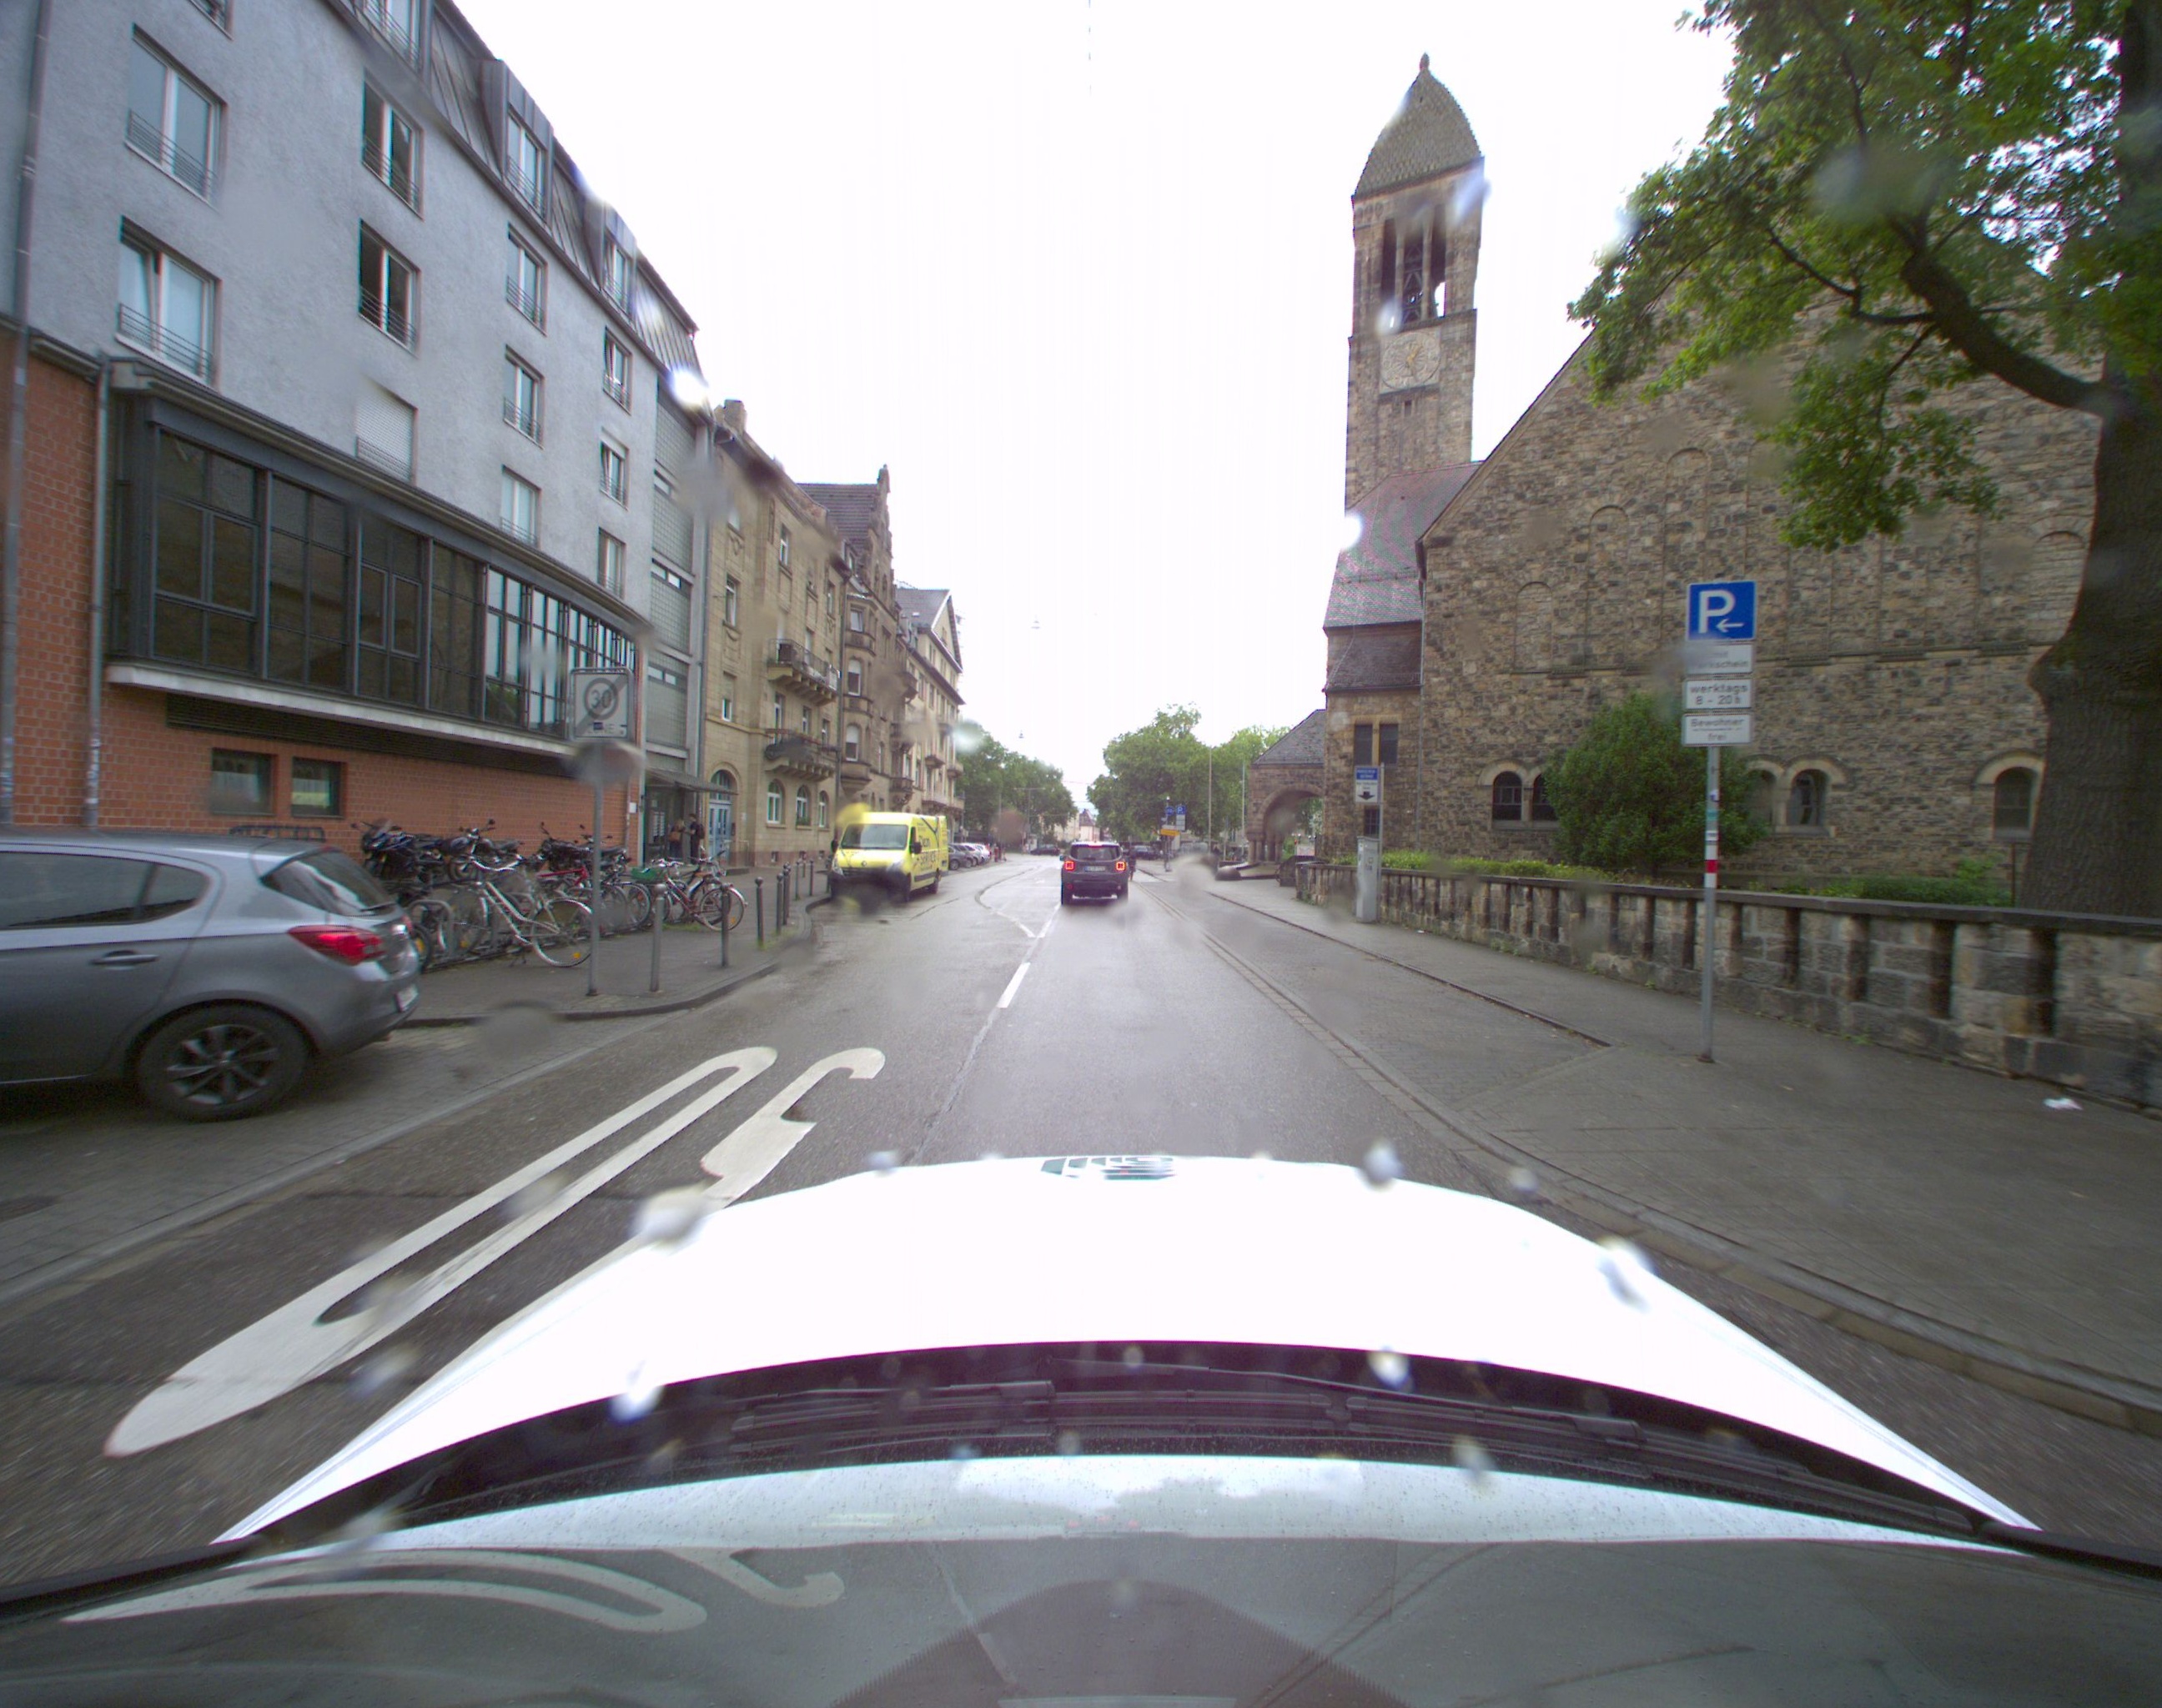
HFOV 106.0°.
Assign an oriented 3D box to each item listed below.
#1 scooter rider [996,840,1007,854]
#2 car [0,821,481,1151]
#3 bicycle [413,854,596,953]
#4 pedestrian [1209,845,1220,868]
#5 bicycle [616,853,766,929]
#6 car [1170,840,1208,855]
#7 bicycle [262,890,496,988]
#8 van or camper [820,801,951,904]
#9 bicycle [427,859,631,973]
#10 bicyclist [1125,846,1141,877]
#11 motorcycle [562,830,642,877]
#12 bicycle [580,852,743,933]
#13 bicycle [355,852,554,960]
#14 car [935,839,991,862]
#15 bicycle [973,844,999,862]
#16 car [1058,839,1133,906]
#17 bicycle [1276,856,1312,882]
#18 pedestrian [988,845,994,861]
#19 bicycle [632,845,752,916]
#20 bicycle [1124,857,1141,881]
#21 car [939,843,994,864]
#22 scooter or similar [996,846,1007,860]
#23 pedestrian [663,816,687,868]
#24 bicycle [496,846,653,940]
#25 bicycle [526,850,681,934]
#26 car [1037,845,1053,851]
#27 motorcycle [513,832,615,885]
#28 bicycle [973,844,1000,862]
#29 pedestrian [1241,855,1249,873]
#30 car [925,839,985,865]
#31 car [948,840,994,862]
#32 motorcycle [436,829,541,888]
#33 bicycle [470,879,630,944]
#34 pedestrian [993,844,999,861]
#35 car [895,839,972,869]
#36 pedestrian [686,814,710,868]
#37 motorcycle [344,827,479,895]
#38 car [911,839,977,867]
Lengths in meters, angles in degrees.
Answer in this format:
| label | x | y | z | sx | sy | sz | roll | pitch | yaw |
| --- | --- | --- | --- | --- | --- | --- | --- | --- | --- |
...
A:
| label | x | y | z | sx | sy | sz | roll | pitch | yaw |
| --- | --- | --- | --- | --- | --- | --- | --- | --- | --- |
| scooter rider | -7.165 | -0.669 | 73.738 | 0.877 | 1.220 | 0.984 | 1 | -2 | 1 |
| car | -5.789 | 0.582 | 4.397 | 3.842 | 1.507 | 1.970 | 2 | 0 | -30 |
| bicycle | -6.920 | 0.590 | 9.830 | 1.721 | 1.097 | 0.505 | 3 | 0 | -8 |
| pedestrian | 9.946 | 0.165 | 60.721 | 0.688 | 1.711 | 0.684 | 1 | 0 | 0 |
| bicycle | -6.316 | 0.588 | 13.247 | 2.109 | 1.097 | 0.594 | 3 | 0 | 0 |
| car | 17.267 | -1.030 | 129.898 | 5.878 | 2.334 | 2.062 | 1 | 0 | 4 |
| bicycle | -6.499 | 0.773 | 7.577 | 1.716 | 0.769 | 0.507 | 3 | 0 | 1 |
| van or camper | -5.502 | 0.047 | 24.057 | 2.114 | 2.531 | 6.873 | -2 | -1 | 0 |
| bicycle | -5.852 | 0.653 | 8.695 | 1.719 | 1.097 | 0.506 | 3 | 0 | -5 |
| bicyclist | 2.456 | 0.350 | 38.623 | 0.702 | 1.403 | 1.171 | 1 | 0 | 1 |
| motorcycle | -12.771 | 0.011 | 21.773 | 0.566 | 1.174 | 1.790 | 4 | 0 | 24 |
| bicycle | -6.364 | 0.575 | 12.422 | 2.125 | 1.097 | 0.594 | 3 | 0 | 0 |
| bicycle | -6.998 | 0.572 | 9.147 | 1.719 | 1.097 | 0.506 | 3 | 0 | -5 |
| car | -8.785 | -0.276 | 60.893 | 3.755 | 1.558 | 1.655 | 3 | 0 | -33 |
| bicycle | -7.992 | -0.072 | 68.684 | 2.099 | 1.444 | 0.487 | 0 | 0 | -20 |
| car | 0.354 | 0.463 | 23.018 | 1.893 | 1.670 | 4.504 | 1 | 0 | -1 |
| bicycle | 9.192 | 0.634 | 35.159 | 1.474 | 1.102 | 0.365 | 1 | 0 | 21 |
| pedestrian | -8.577 | -0.097 | 77.454 | 0.466 | 1.585 | 0.659 | 1 | 0 | -1 |
| bicycle | -7.030 | 0.496 | 14.772 | 1.820 | 1.213 | 0.624 | 4 | -1 | -35 |
| bicycle | 2.448 | 0.710 | 38.624 | 0.702 | 1.054 | 1.813 | 1 | 1 | 1 |
| car | -8.184 | -0.024 | 58.272 | 3.436 | 1.316 | 1.761 | 3 | 0 | -33 |
| scooter or similar | -7.171 | -0.059 | 73.716 | 0.848 | 1.212 | 0.986 | 1 | -1 | 1 |
| pedestrian | -13.307 | -0.384 | 26.702 | 0.663 | 1.675 | 0.790 | 1 | 0 | -23 |
| bicycle | -6.946 | 0.521 | 11.202 | 1.794 | 1.167 | 0.568 | 3 | 0 | 4 |
| bicycle | -6.911 | 0.536 | 11.824 | 1.907 | 1.097 | 0.506 | 3 | 0 | 0 |
| car | -8.383 | -1.417 | 188.623 | 3.447 | 1.500 | 1.547 | 1 | 0 | 11 |
| motorcycle | -12.617 | 0.106 | 19.977 | 0.748 | 1.174 | 2.123 | 4 | 0 | 13 |
| bicycle | -7.863 | -0.093 | 67.691 | 2.116 | 1.444 | 0.536 | 0 | 0 | -20 |
| pedestrian | 15.626 | 0.962 | 77.688 | 0.676 | 1.711 | 0.696 | 1 | 0 | 19 |
| car | -8.534 | -0.137 | 55.158 | 3.520 | 1.518 | 1.866 | 3 | 0 | -33 |
| car | -8.669 | -0.242 | 64.197 | 3.267 | 1.558 | 1.519 | 3 | 0 | -33 |
| motorcycle | -12.915 | 0.076 | 17.854 | 0.751 | 1.174 | 2.113 | 4 | 0 | -3 |
| bicycle | -6.896 | 0.738 | 10.612 | 1.716 | 0.731 | 0.506 | 3 | 0 | 0 |
| pedestrian | -8.119 | -0.156 | 77.717 | 0.466 | 1.585 | 0.752 | 1 | 0 | -1 |
| car | -8.364 | 0.012 | 46.288 | 3.873 | 1.479 | 1.864 | 3 | 0 | -40 |
| pedestrian | -12.684 | -0.440 | 26.964 | 0.663 | 1.757 | 0.790 | 1 | 0 | -23 |
| motorcycle | -12.824 | 0.124 | 15.702 | 0.750 | 1.174 | 2.116 | 4 | 0 | 1 |
| car | -8.726 | -0.066 | 51.960 | 3.681 | 1.558 | 1.789 | 3 | 0 | -36 |
